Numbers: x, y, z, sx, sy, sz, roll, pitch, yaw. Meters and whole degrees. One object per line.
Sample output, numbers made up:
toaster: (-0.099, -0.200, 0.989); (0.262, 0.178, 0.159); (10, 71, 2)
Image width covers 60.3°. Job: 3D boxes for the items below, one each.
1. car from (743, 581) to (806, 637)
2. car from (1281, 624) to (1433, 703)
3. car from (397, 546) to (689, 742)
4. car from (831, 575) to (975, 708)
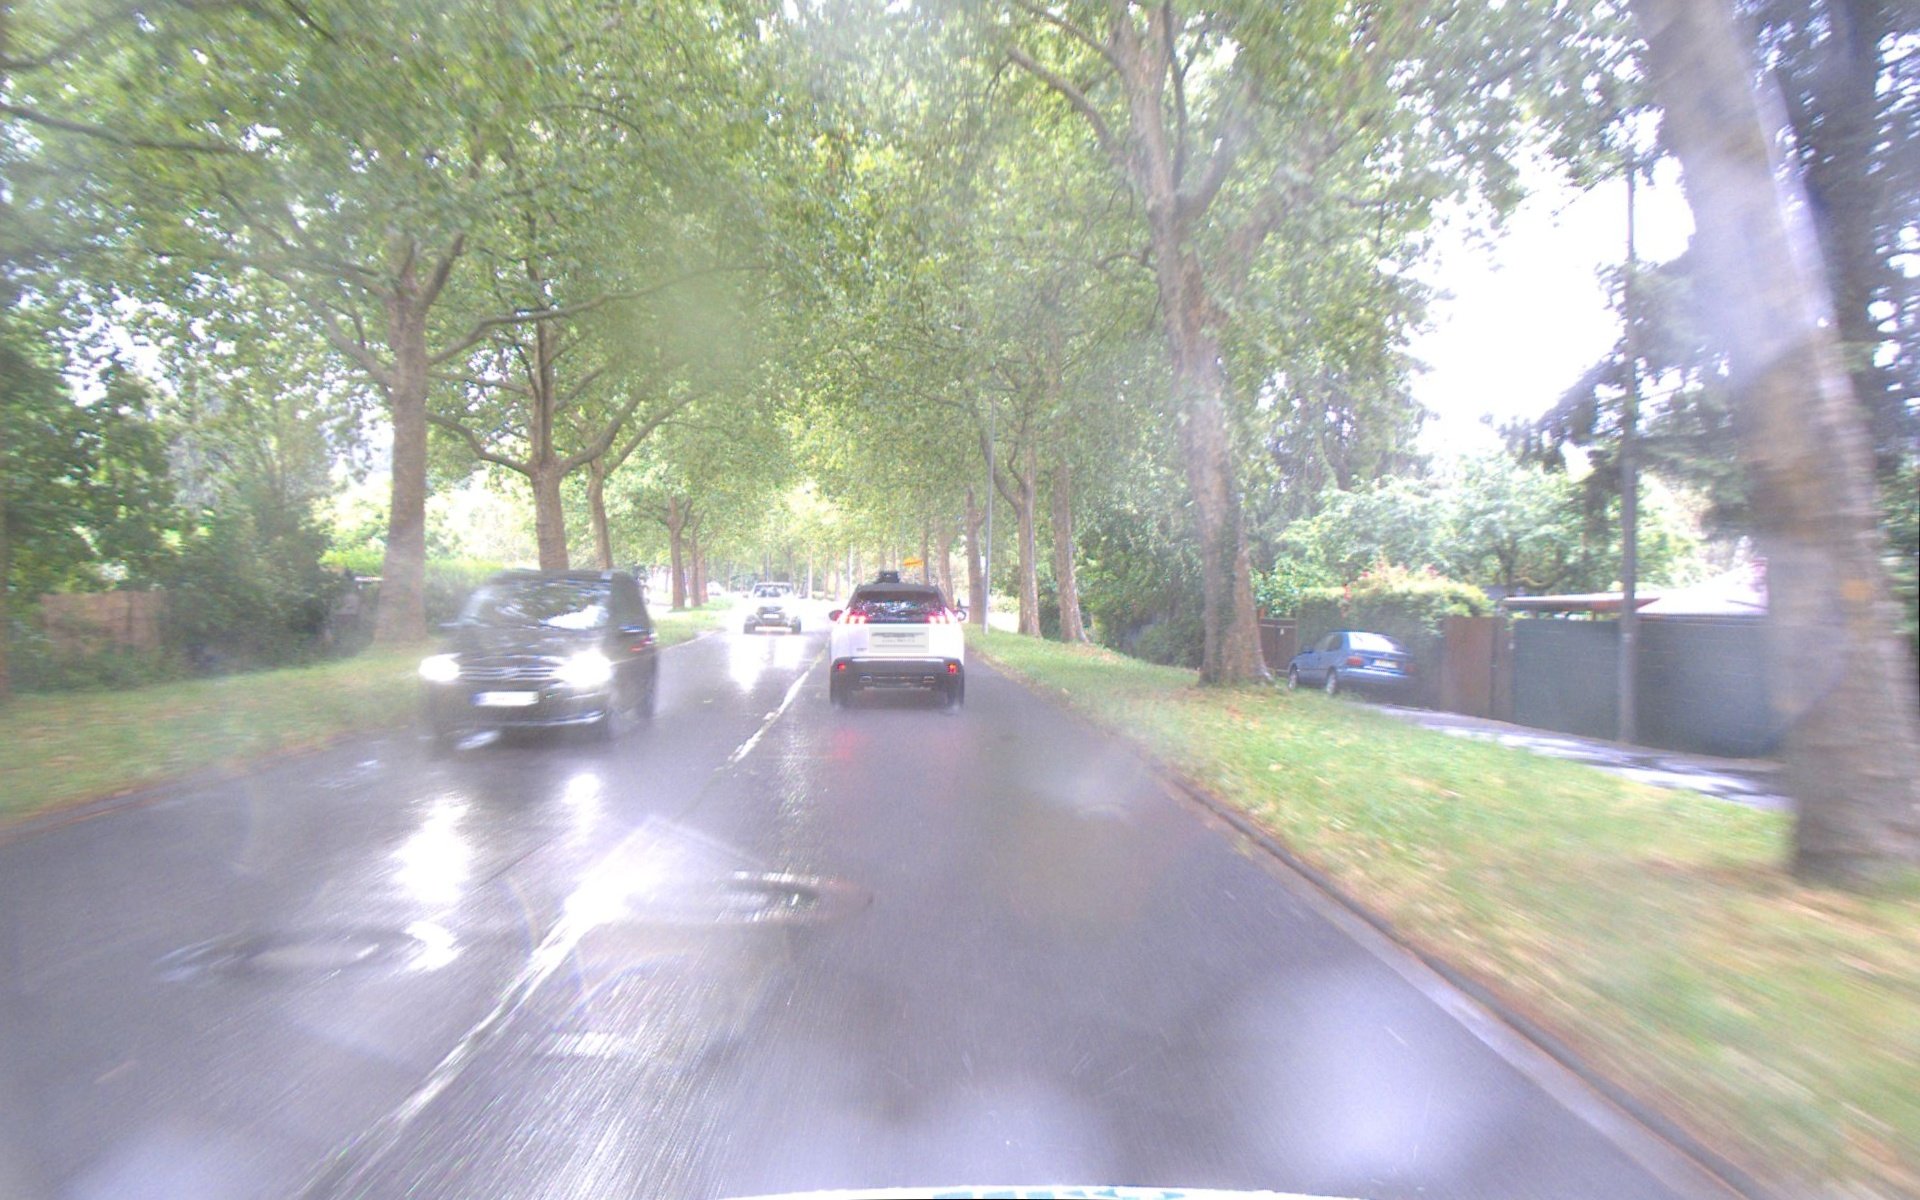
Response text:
car: (-6.209, 0.292, 55.771); (1.772, 1.758, 4.452); (1, 0, -3)
car: (8.310, 1.299, 34.979); (1.762, 1.348, 3.994); (6, -1, -7)
car: (-4.062, 0.380, 16.960); (1.781, 1.683, 4.773); (1, 0, -1)
car: (-0.729, 0.505, 22.509); (1.757, 1.606, 3.844); (1, 0, -1)
